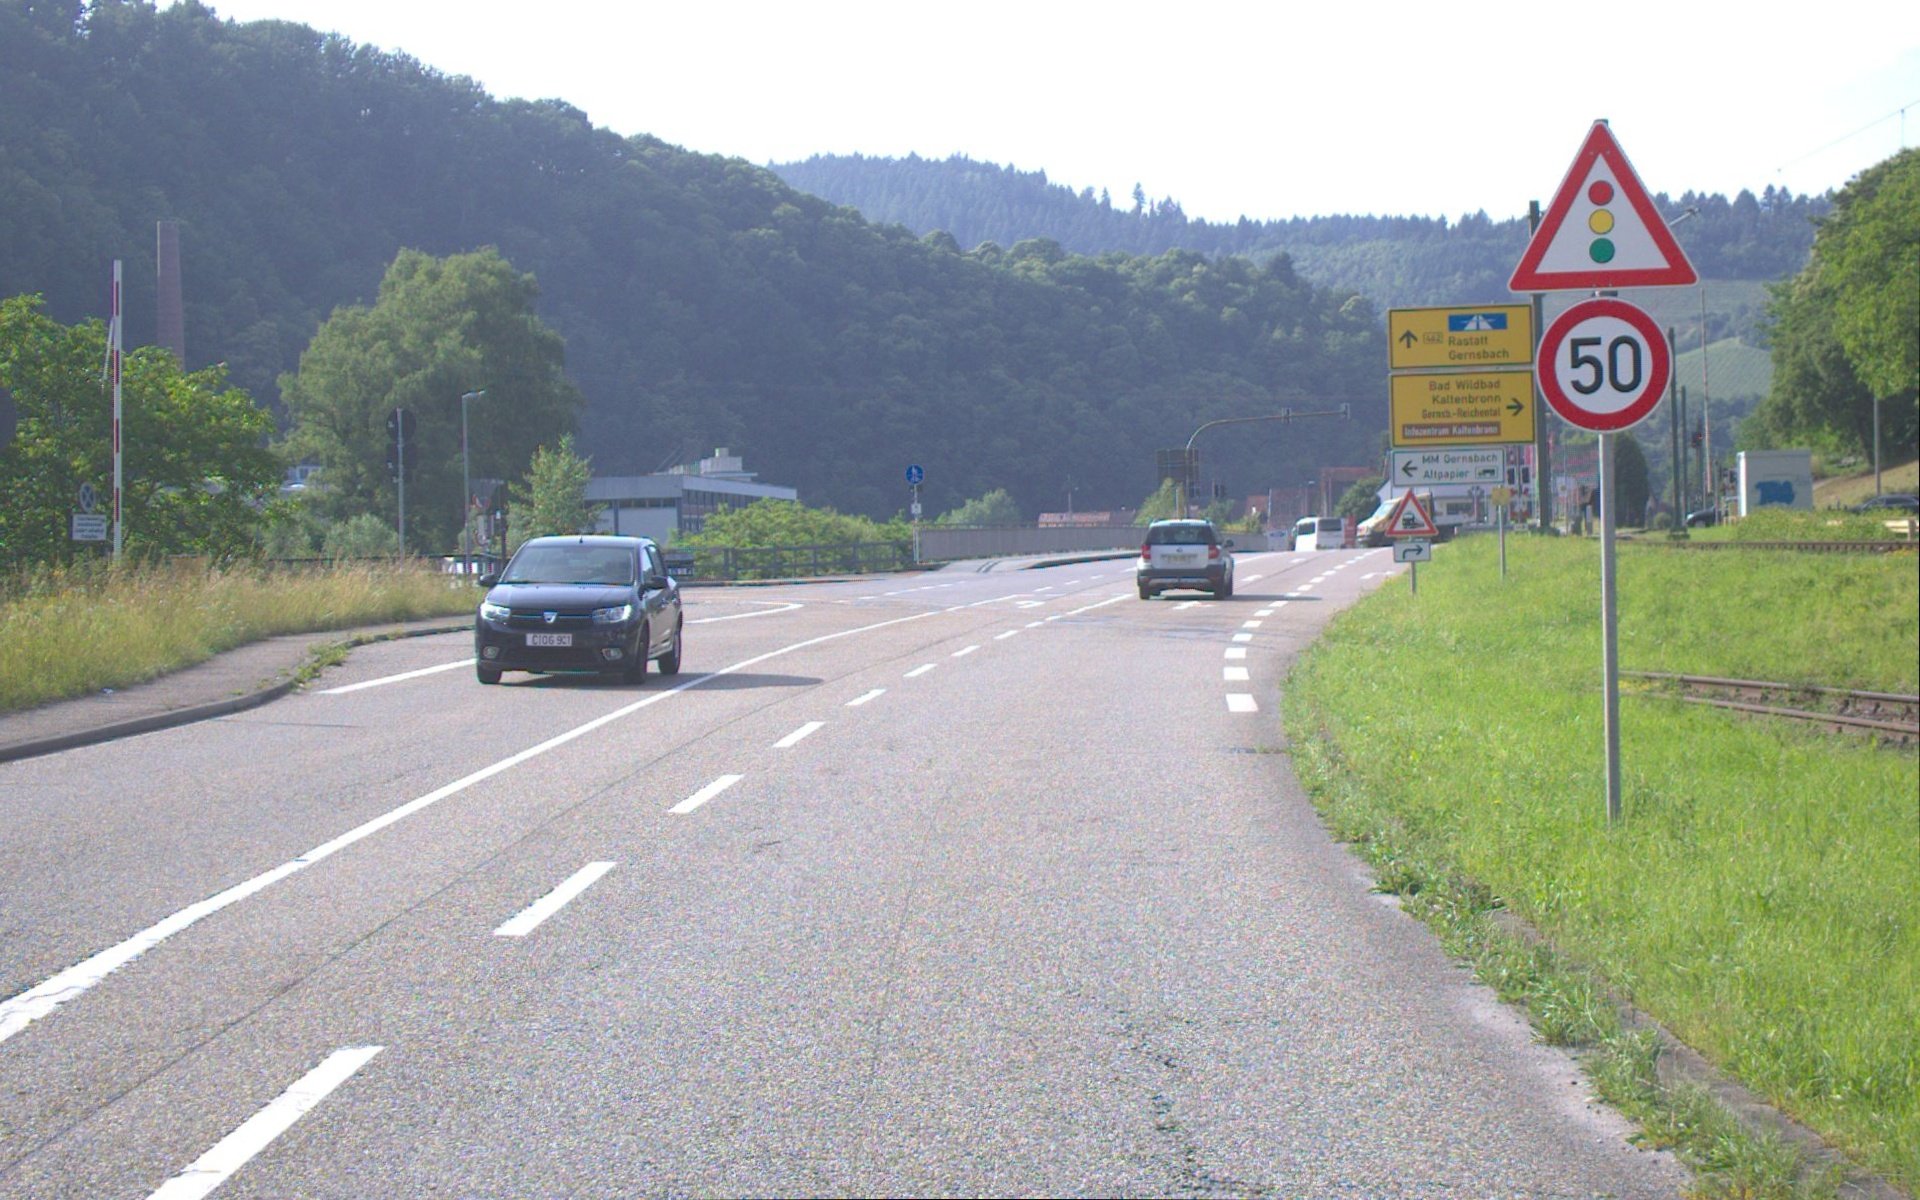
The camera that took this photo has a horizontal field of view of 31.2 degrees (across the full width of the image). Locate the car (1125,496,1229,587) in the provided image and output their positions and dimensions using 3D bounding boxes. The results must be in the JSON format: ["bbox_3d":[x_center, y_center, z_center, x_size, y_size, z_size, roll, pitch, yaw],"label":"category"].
[{"bbox_3d":[4.525,-1.214,71.506,1.994,1.717,3.990,-3,1,4],"label":"car"}]

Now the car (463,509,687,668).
[{"bbox_3d":[-3.995,-0.166,36.328,1.847,1.579,4.316,0,1,0],"label":"car"}]

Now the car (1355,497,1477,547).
[{"bbox_3d":[21.527,-3.695,162.410,5.277,2.007,2.001,-4,1,-18],"label":"car"}]
